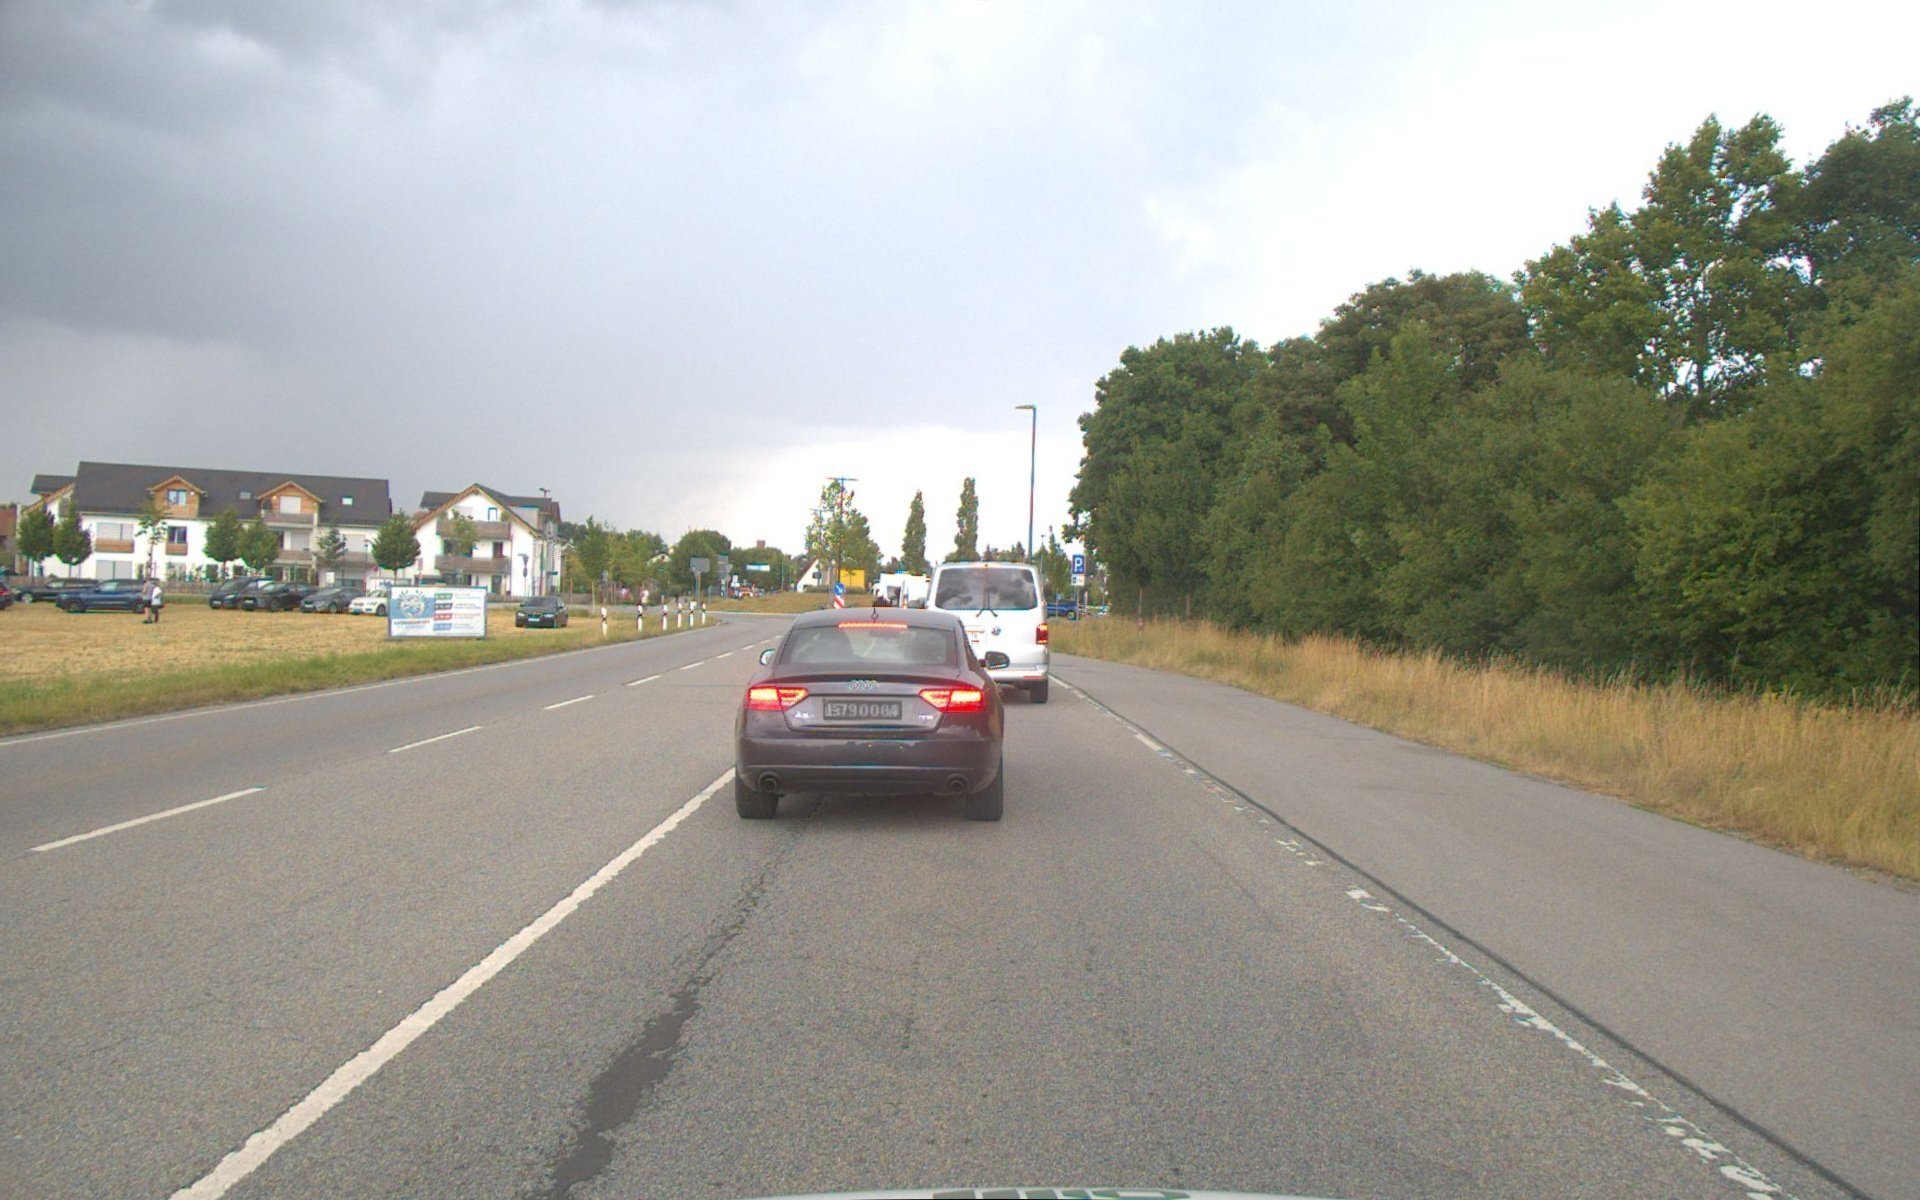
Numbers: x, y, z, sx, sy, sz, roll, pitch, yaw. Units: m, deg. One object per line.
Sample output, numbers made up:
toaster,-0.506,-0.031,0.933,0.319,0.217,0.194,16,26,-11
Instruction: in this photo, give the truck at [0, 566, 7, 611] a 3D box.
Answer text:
truck,-49.758,-0.626,80.529,5.489,2.235,2.589,1,0,-23

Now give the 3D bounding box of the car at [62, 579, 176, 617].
car,-40.640,-0.107,80.053,4.647,1.727,1.988,1,0,-21

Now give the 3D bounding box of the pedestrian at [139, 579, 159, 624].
pedestrian,-33.275,0.074,67.825,0.538,1.817,0.676,1,0,-12

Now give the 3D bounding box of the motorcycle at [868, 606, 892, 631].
motorcycle,-3.419,0.794,70.741,0.925,1.037,2.283,1,0,-1

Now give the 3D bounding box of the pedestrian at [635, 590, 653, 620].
pedestrian,-17.348,0.290,90.748,0.686,1.613,0.658,1,0,17

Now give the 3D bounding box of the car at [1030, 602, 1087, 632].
car,7.459,1.289,125.211,3.905,2.049,2.000,2,0,20

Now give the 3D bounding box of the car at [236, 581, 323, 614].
car,-36.086,-0.119,87.804,1.952,1.657,4.213,1,0,18

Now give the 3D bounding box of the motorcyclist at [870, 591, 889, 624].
motorcyclist,-3.430,0.310,70.767,0.770,1.380,0.853,1,0,-2

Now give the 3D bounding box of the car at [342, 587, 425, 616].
car,-30.281,0.076,86.961,1.952,1.471,4.213,1,0,18

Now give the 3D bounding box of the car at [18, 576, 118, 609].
car,-49.267,-0.401,91.404,4.558,1.727,1.988,1,0,-21

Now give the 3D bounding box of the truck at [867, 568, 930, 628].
truck,-3.116,-0.083,81.996,2.576,2.785,5.858,2,0,-7

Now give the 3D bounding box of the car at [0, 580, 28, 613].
car,-46.311,-0.196,77.708,4.095,1.545,1.988,1,0,-21

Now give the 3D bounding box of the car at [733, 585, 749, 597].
car,-30.874,-1.249,233.427,1.954,1.670,3.996,2,0,-4

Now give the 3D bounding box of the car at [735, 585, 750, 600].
car,-29.606,-1.029,225.354,1.956,2.049,3.994,2,0,-7

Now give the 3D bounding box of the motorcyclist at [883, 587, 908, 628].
motorcyclist,-2.213,0.253,57.089,0.756,1.407,0.820,2,0,2

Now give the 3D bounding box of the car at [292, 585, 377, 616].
car,-32.990,0.034,87.361,1.952,1.562,4.213,1,0,18

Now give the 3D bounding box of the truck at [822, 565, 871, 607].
truck,-10.710,-1.351,155.208,3.511,3.640,9.934,2,0,-10

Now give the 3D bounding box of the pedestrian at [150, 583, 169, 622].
pedestrian,-33.228,0.095,68.669,0.580,1.582,0.622,1,0,-19

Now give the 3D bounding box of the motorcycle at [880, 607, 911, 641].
motorcycle,-2.223,0.823,57.213,0.901,1.113,2.189,2,0,2

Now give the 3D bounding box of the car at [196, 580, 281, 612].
car,-39.262,-0.220,90.118,1.952,1.657,4.213,1,0,18

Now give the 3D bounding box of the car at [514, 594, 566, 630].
car,-18.825,0.526,74.215,1.958,1.467,3.990,1,1,-11

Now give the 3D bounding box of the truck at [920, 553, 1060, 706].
truck,0.414,0.394,24.900,1.865,2.033,4.628,1,0,0

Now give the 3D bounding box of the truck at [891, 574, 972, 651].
truck,-0.763,0.346,47.608,2.149,2.049,5.084,1,0,0

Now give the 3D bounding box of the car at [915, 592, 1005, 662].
car,-0.028,0.603,38.537,1.953,1.511,3.999,1,0,-1

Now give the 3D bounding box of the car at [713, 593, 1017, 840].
car,-0.554,0.704,12.179,1.836,1.479,4.177,1,0,1
